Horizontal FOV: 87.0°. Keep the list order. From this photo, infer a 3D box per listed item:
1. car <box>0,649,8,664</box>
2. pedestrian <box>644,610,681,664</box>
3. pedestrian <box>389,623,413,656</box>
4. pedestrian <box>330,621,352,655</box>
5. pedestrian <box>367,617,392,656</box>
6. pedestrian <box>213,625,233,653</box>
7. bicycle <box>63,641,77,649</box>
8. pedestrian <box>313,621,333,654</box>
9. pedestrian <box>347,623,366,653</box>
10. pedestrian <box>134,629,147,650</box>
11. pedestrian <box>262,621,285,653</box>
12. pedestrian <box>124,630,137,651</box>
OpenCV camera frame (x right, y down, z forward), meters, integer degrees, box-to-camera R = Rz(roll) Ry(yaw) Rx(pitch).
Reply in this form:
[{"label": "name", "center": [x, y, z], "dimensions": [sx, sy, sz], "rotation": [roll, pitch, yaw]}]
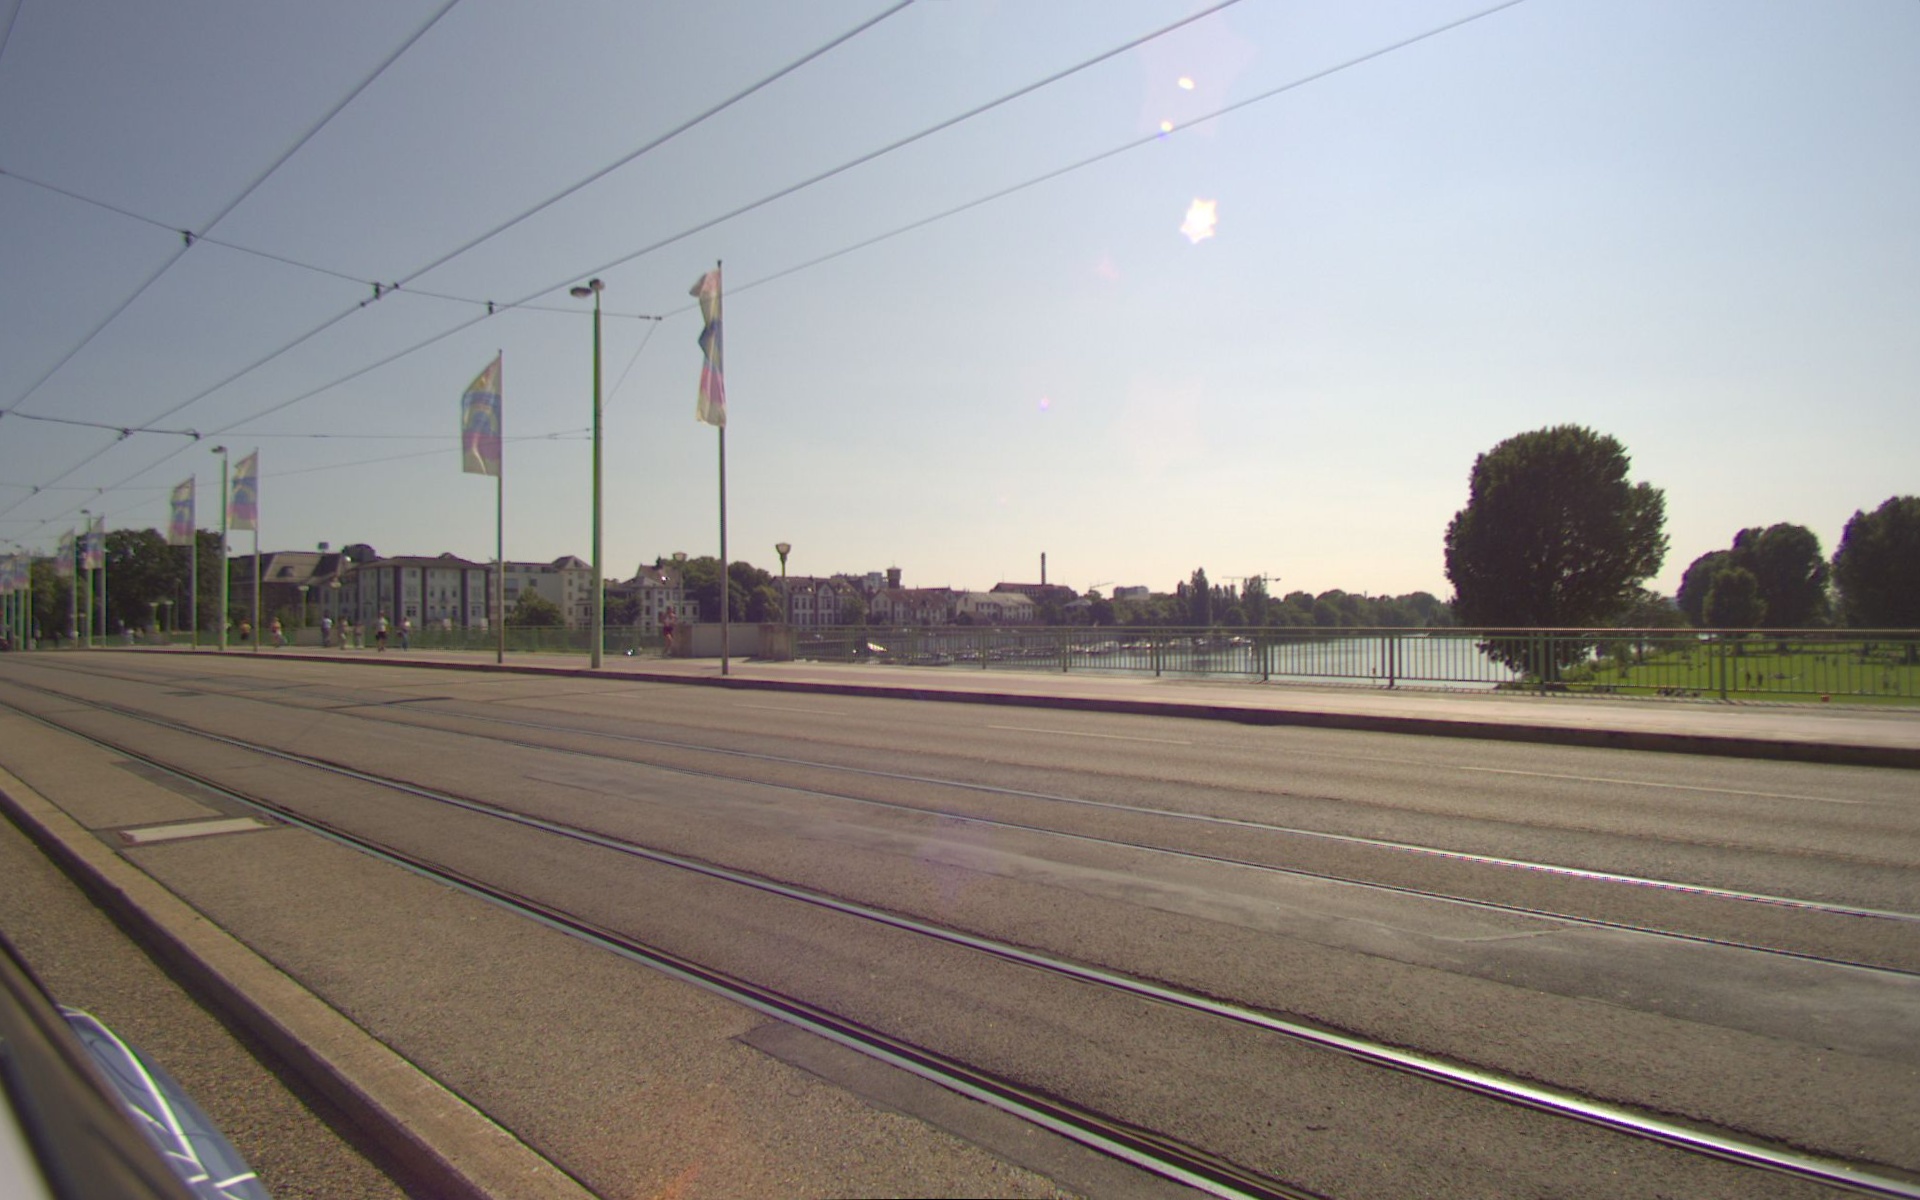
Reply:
[{"label": "car", "center": [-94.957, 5.547, 99.398], "dimensions": [3.899, 1.465, 1.698], "rotation": [-2, -2, 41]}, {"label": "pedestrian", "center": [-9.665, 1.178, 32.859], "dimensions": [1.022, 1.703, 0.677], "rotation": [-2, 0, 41]}, {"label": "pedestrian", "center": [-25.460, 1.795, 46.102], "dimensions": [1.022, 1.425, 0.584], "rotation": [-2, 0, 41]}, {"label": "pedestrian", "center": [-30.449, 1.878, 49.762], "dimensions": [1.022, 1.611, 0.620], "rotation": [-2, 0, 41]}, {"label": "pedestrian", "center": [-26.058, 1.619, 45.425], "dimensions": [1.022, 1.712, 0.663], "rotation": [-2, 0, 41]}, {"label": "pedestrian", "center": [-46.775, 2.460, 64.252], "dimensions": [1.022, 1.712, 0.777], "rotation": [-2, 1, 41]}, {"label": "bicycle", "center": [-80.590, 4.044, 91.648], "dimensions": [2.171, 0.721, 0.658], "rotation": [-2, -1, 41]}, {"label": "pedestrian", "center": [-34.113, 2.012, 54.191], "dimensions": [1.022, 1.712, 0.584], "rotation": [-2, 0, 41]}, {"label": "pedestrian", "center": [-29.940, 1.889, 50.207], "dimensions": [0.788, 1.448, 0.540], "rotation": [-2, 0, 41]}, {"label": "pedestrian", "center": [-69.795, 3.340, 86.222], "dimensions": [0.904, 1.712, 0.584], "rotation": [-2, 3, 41]}, {"label": "pedestrian", "center": [-37.913, 2.038, 55.889], "dimensions": [1.022, 1.712, 0.777], "rotation": [-2, 1, 41]}, {"label": "pedestrian", "center": [-69.876, 3.431, 85.243], "dimensions": [1.022, 1.712, 0.584], "rotation": [-2, 3, 41]}]
